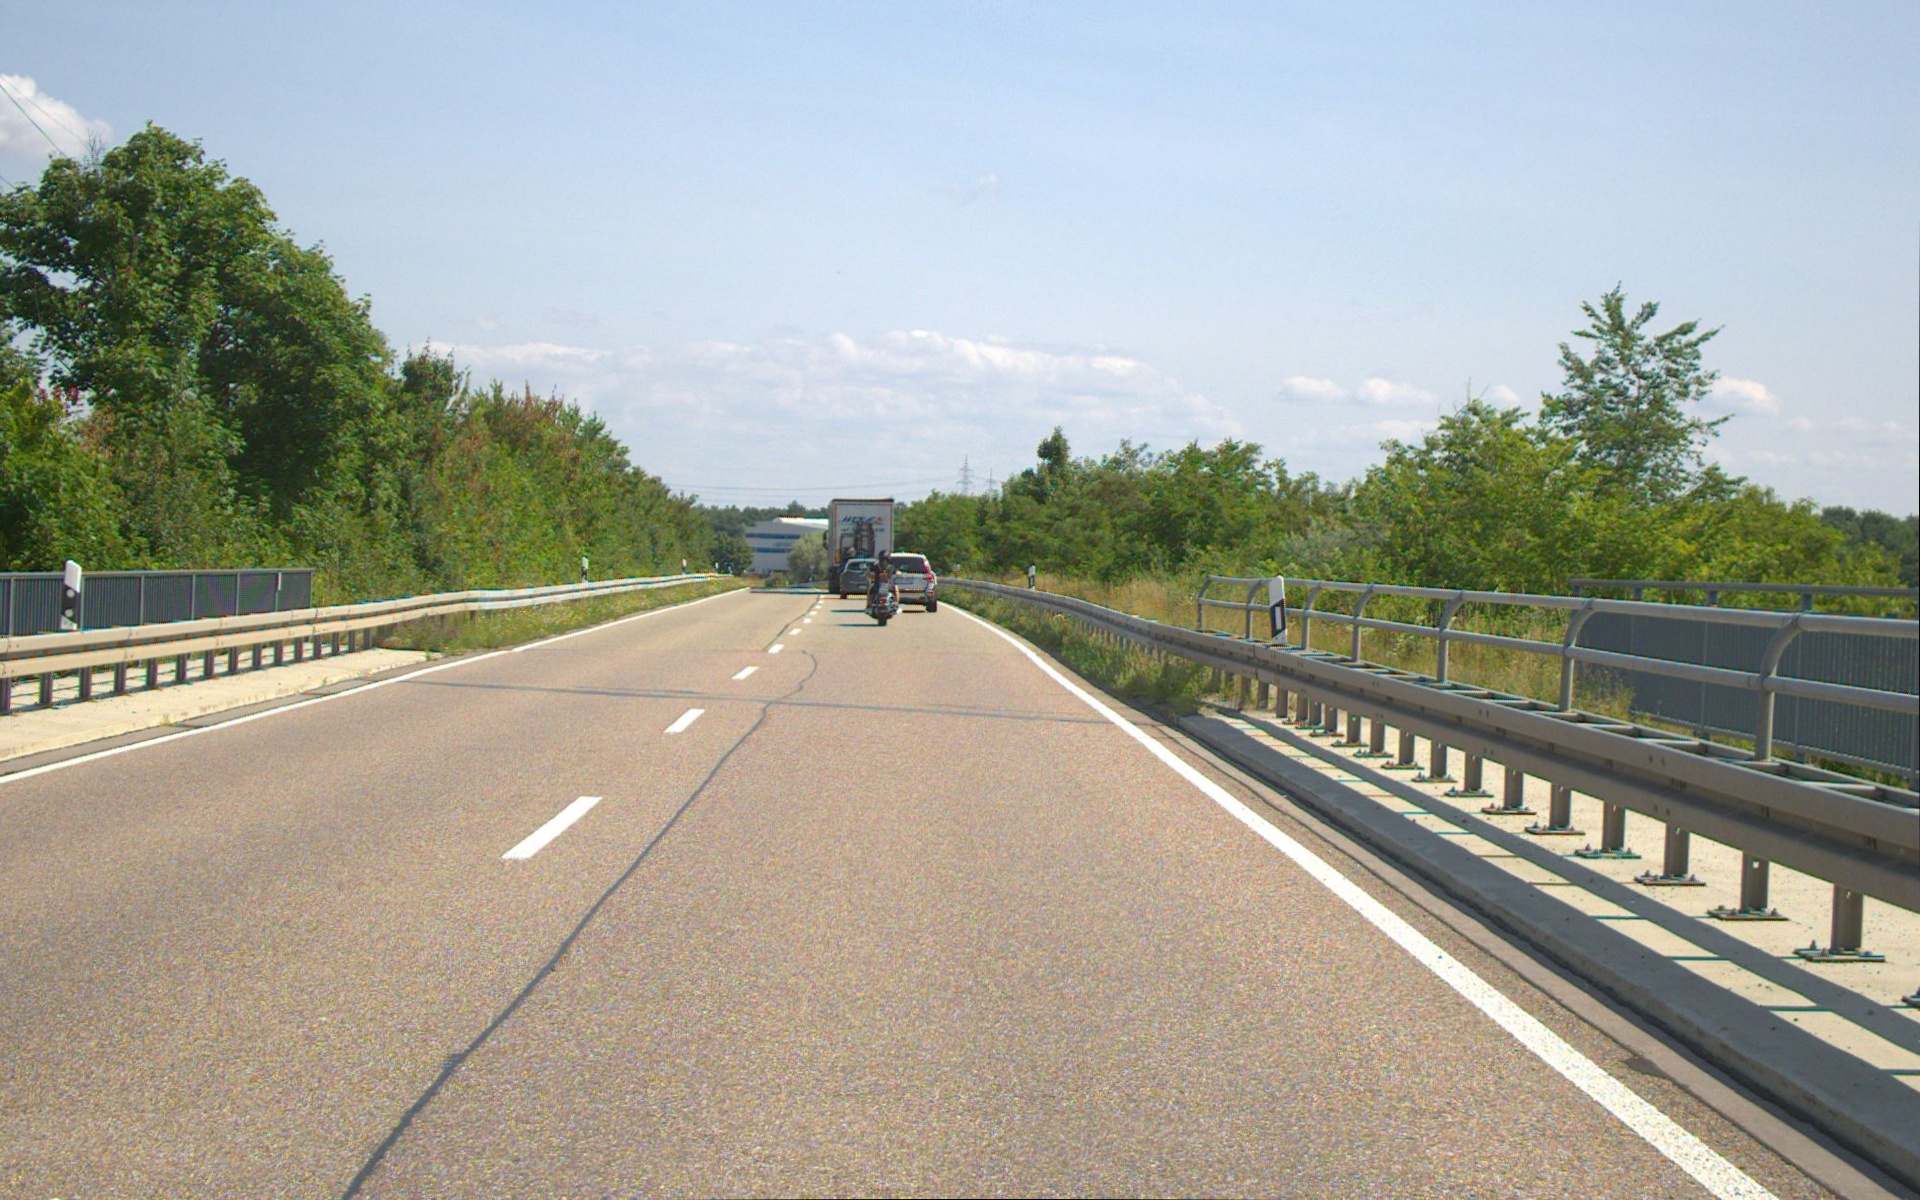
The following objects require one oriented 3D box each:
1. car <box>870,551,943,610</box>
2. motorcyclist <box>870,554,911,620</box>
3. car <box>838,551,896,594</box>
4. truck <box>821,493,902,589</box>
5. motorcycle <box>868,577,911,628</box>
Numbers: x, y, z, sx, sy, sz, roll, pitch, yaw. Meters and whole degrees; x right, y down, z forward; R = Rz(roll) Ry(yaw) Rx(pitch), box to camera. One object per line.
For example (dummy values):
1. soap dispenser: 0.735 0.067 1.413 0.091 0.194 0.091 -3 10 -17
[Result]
1. car: -1.443 -0.527 91.263 1.825 1.446 4.001 1 1 -2
2. motorcyclist: -1.431 -0.264 70.785 0.780 1.321 0.813 1 1 1
3. car: -3.281 -0.999 122.128 1.866 1.415 4.000 1 1 1
4. truck: -4.334 -2.540 149.184 3.241 3.965 9.445 1 1 -3
5. motorcycle: -1.447 0.041 70.772 0.780 0.972 2.361 1 1 1
